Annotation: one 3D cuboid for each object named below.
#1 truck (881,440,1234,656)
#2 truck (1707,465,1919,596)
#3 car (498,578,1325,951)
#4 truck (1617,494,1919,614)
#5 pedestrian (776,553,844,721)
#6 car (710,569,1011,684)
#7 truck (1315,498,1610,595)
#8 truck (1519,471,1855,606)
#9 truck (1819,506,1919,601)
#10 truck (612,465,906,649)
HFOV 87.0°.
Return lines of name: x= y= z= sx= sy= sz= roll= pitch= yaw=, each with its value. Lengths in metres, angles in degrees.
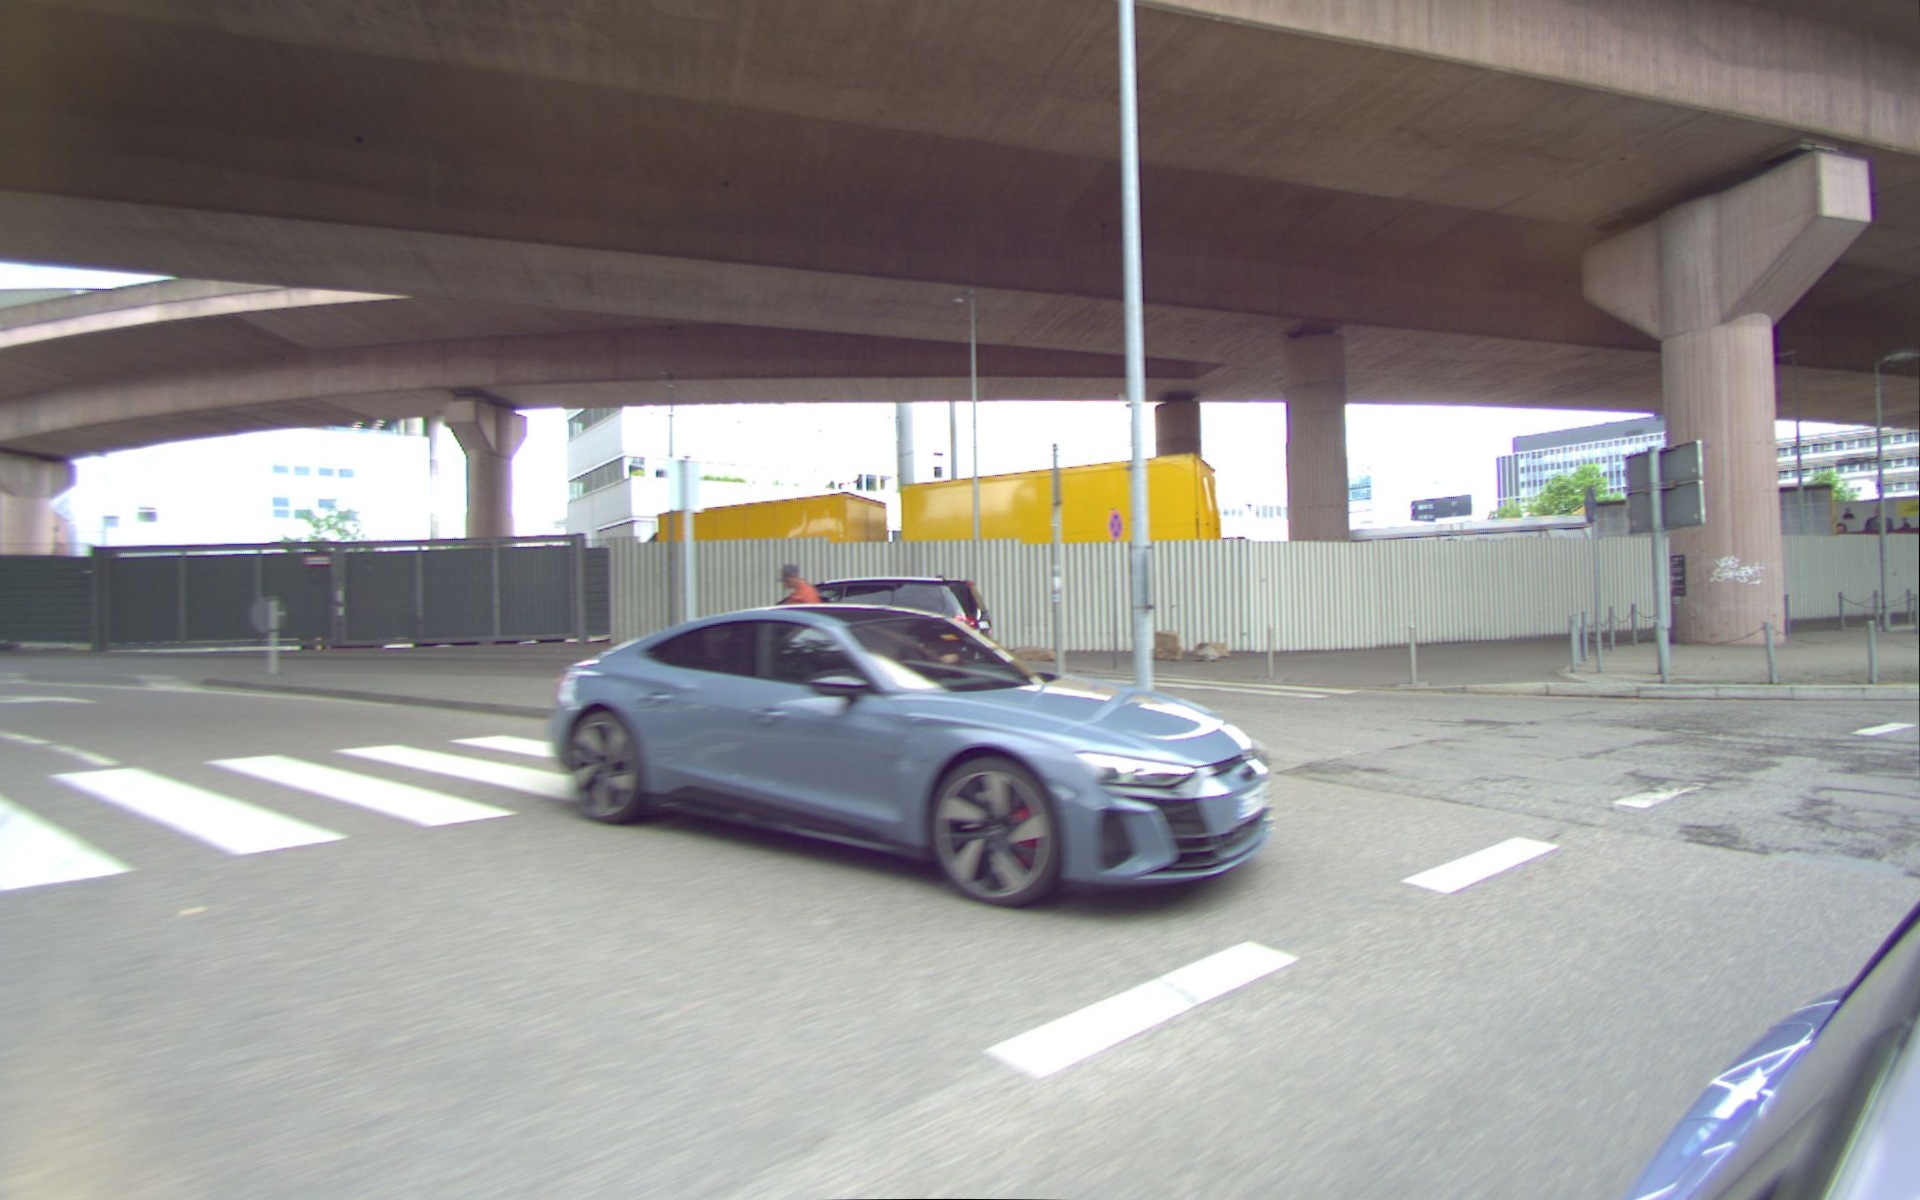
truck: x=2.478 y=-1.103 z=26.580 sx=8.626 sy=4.980 sz=3.120 roll=-2 pitch=-1 yaw=26
truck: x=36.402 y=-2.714 z=40.733 sx=9.618 sy=4.986 sz=3.123 roll=-1 pitch=0 yaw=24
car: x=-0.481 y=0.681 z=6.380 sx=4.895 sy=1.521 sz=2.148 roll=-1 pitch=0 yaw=33
truck: x=31.478 y=-1.642 z=38.950 sx=9.960 sy=4.236 sz=2.874 roll=-1 pitch=1 yaw=26
pedestrian: x=-1.576 y=0.371 z=10.625 sx=0.547 sy=1.697 sz=0.538 roll=0 pitch=0 yaw=-29
car: x=-1.591 y=0.399 z=16.552 sx=4.498 sy=1.700 sz=1.989 roll=-1 pitch=1 yaw=17
truck: x=16.859 y=-1.780 z=34.578 sx=8.631 sy=2.979 sz=3.121 roll=1 pitch=3 yaw=27
truck: x=26.562 y=-2.105 z=37.763 sx=9.618 sy=4.499 sz=3.123 roll=-1 pitch=0 yaw=24
truck: x=47.194 y=-2.218 z=47.311 sx=10.189 sy=4.357 sz=2.987 roll=-1 pitch=1 yaw=26
truck: x=-6.187 y=-1.081 z=30.790 sx=8.626 sy=4.966 sz=3.120 roll=-2 pitch=-1 yaw=26
